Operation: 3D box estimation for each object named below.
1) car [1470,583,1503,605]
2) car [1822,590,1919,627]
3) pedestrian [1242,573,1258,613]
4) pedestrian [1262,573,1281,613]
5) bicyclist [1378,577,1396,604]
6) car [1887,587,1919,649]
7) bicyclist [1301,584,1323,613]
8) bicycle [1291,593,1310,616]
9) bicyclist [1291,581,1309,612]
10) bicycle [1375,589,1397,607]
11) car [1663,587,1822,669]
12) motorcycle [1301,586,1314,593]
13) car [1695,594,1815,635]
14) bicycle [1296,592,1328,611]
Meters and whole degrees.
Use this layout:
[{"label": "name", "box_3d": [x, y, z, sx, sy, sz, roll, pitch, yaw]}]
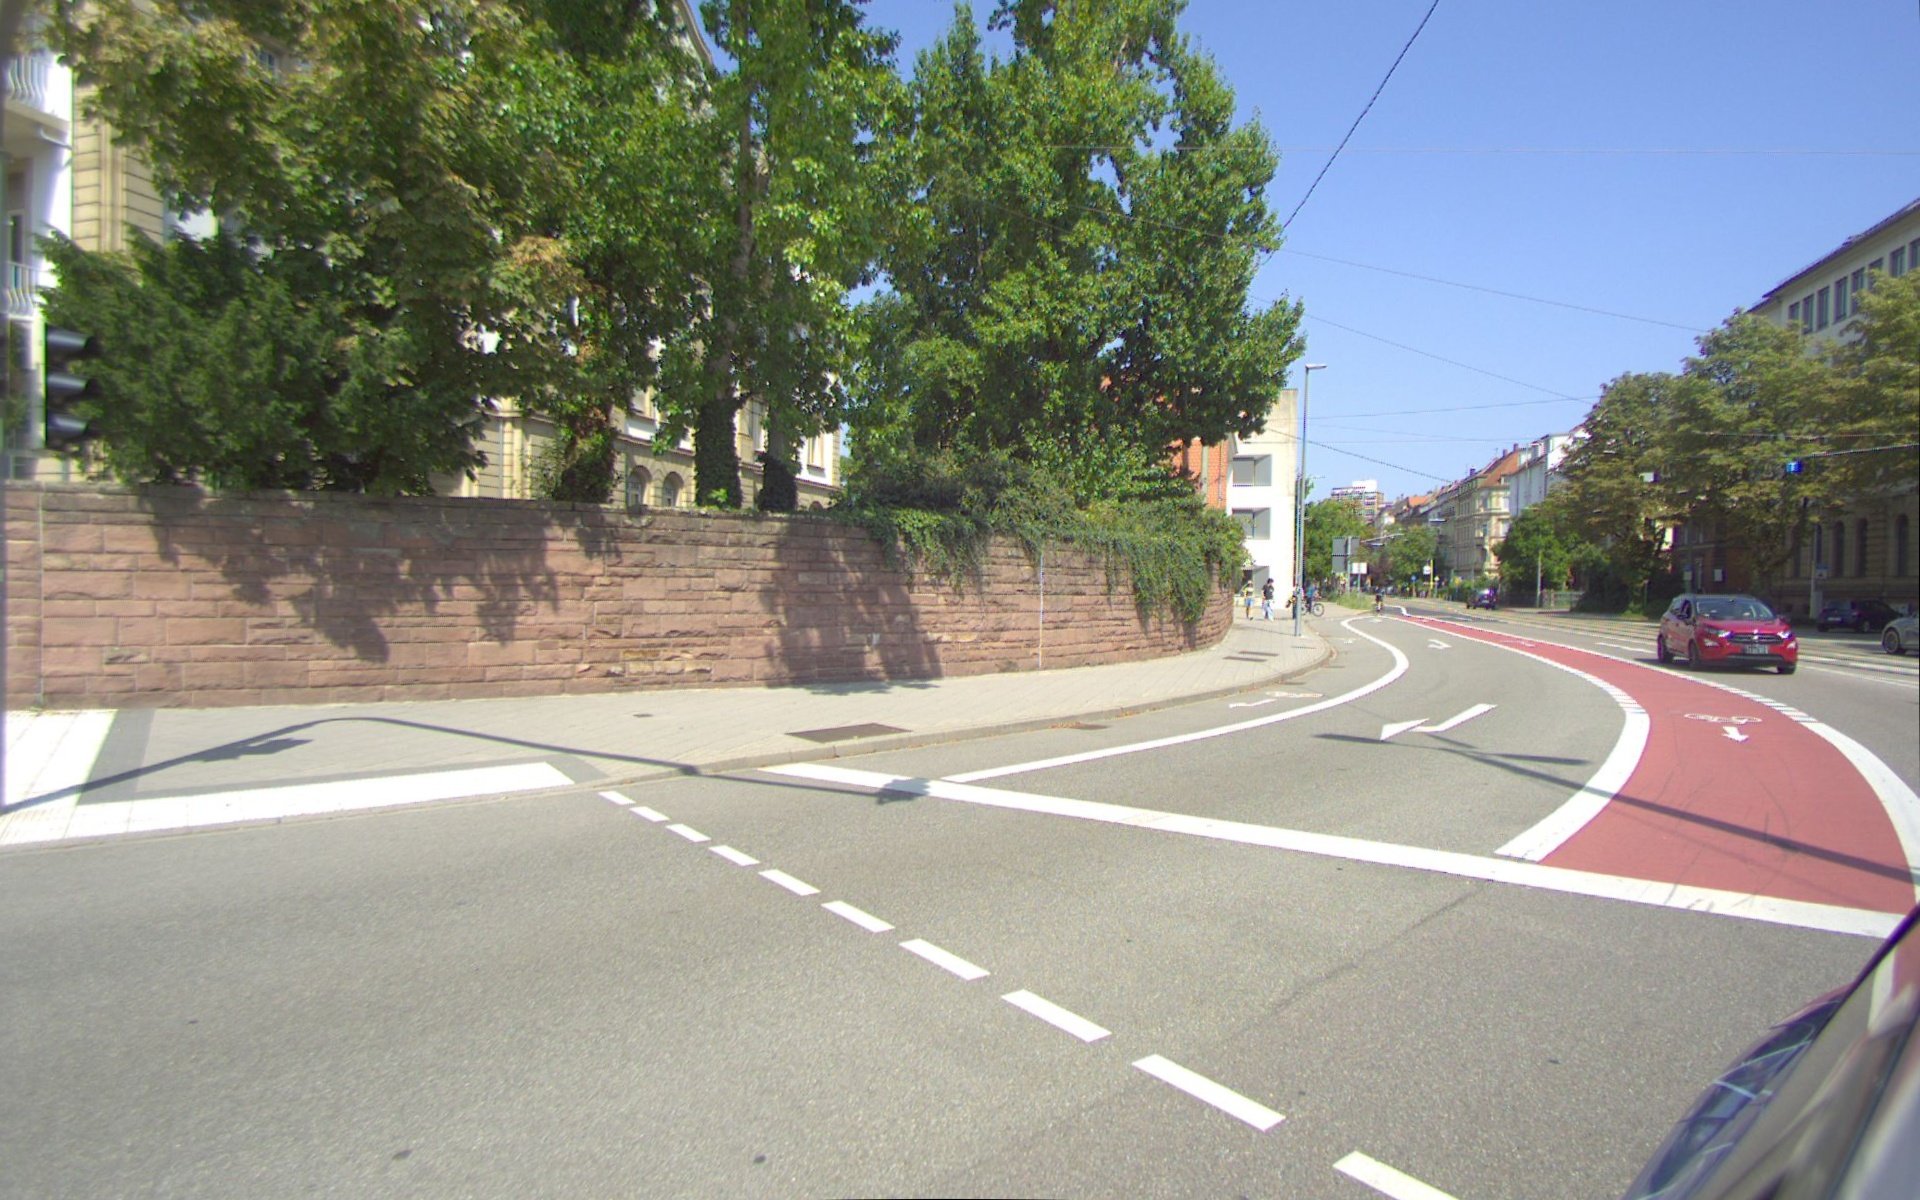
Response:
[{"label": "car", "box_3d": [41.874, -0.469, 80.616, 1.674, 1.675, 3.562, 1, 1, 17]}, {"label": "car", "box_3d": [39.577, 0.351, 43.669, 4.076, 1.515, 1.825, 1, 1, -20]}, {"label": "pedestrian", "box_3d": [12.568, -0.301, 43.853, 0.611, 1.687, 0.484, 1, 0, 17]}, {"label": "pedestrian", "box_3d": [13.357, -0.288, 43.417, 0.720, 1.686, 0.874, 1, 0, 19]}, {"label": "bicyclist", "box_3d": [25.569, -0.560, 60.615, 0.976, 1.618, 0.627, 0, 1, -44]}, {"label": "car", "box_3d": [26.036, 0.520, 25.722, 1.754, 1.630, 4.648, 1, 1, 17]}, {"label": "bicyclist", "box_3d": [19.504, -0.098, 56.104, 0.885, 1.558, 0.629, 3, 2, -28]}, {"label": "bicycle", "box_3d": [15.905, 0.197, 47.311, 0.731, 1.062, 2.221, 1, 1, 17]}, {"label": "bicyclist", "box_3d": [15.864, -0.167, 47.196, 0.737, 1.429, 0.956, 1, 0, 17]}, {"label": "bicycle", "box_3d": [25.548, -0.103, 60.645, 0.614, 1.012, 1.683, 3, 1, 45]}, {"label": "car", "box_3d": [16.742, 0.524, 21.875, 1.798, 1.571, 3.988, 1, 1, 24]}, {"label": "motorcycle", "box_3d": [59.345, -1.742, 172.953, 1.975, 1.027, 0.792, 5, 2, 17]}, {"label": "car", "box_3d": [30.982, 0.509, 39.611, 1.666, 1.395, 4.605, 1, 1, 10]}, {"label": "bicycle", "box_3d": [19.528, 0.088, 56.125, 1.676, 1.012, 0.617, 2, 1, -26]}]
